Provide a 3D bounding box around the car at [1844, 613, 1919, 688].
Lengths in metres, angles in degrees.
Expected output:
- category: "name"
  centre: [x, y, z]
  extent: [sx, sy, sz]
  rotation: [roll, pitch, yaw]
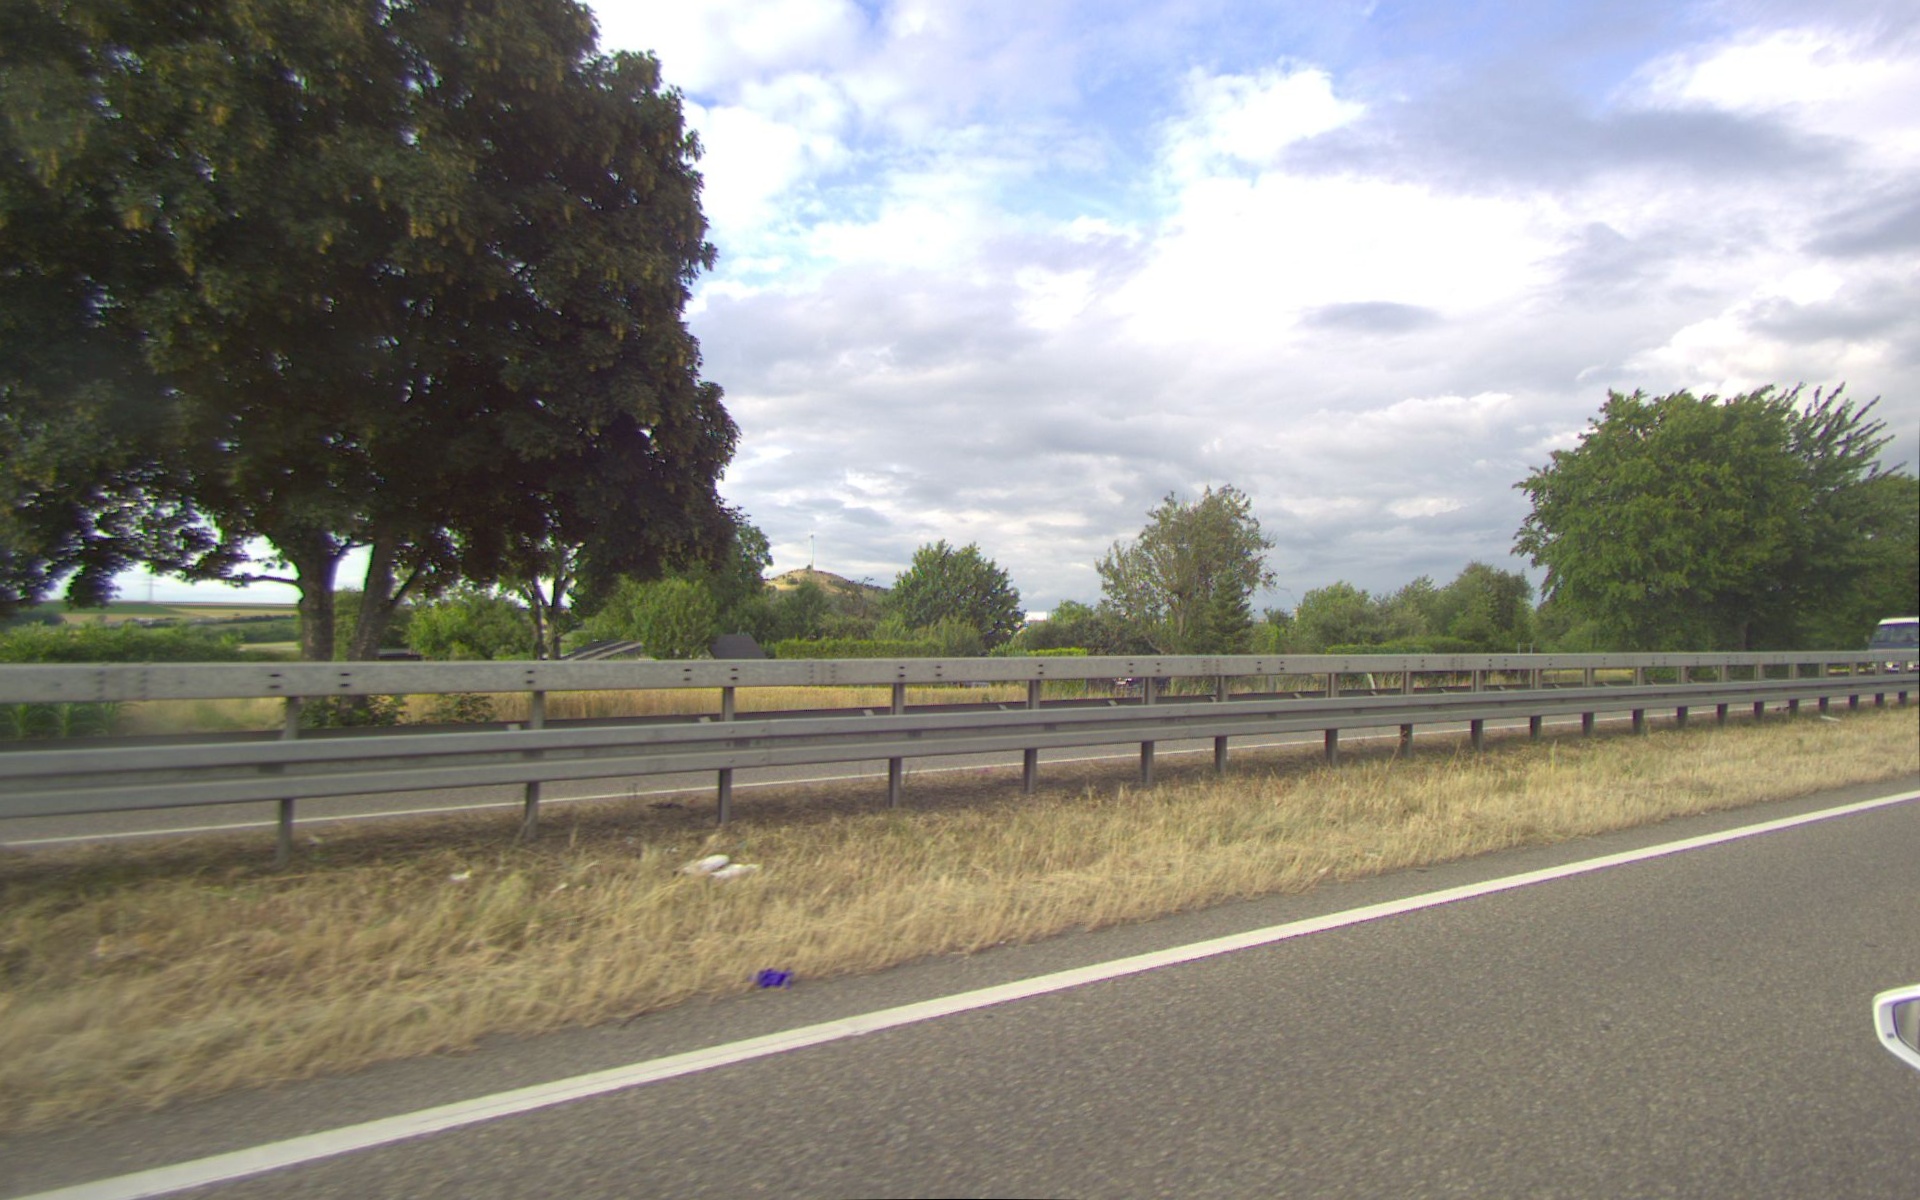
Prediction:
- category: "car"
  centre: [29.757, 1.552, 31.128]
  extent: [5.256, 2.169, 1.984]
  rotation: [1, -3, -30]
